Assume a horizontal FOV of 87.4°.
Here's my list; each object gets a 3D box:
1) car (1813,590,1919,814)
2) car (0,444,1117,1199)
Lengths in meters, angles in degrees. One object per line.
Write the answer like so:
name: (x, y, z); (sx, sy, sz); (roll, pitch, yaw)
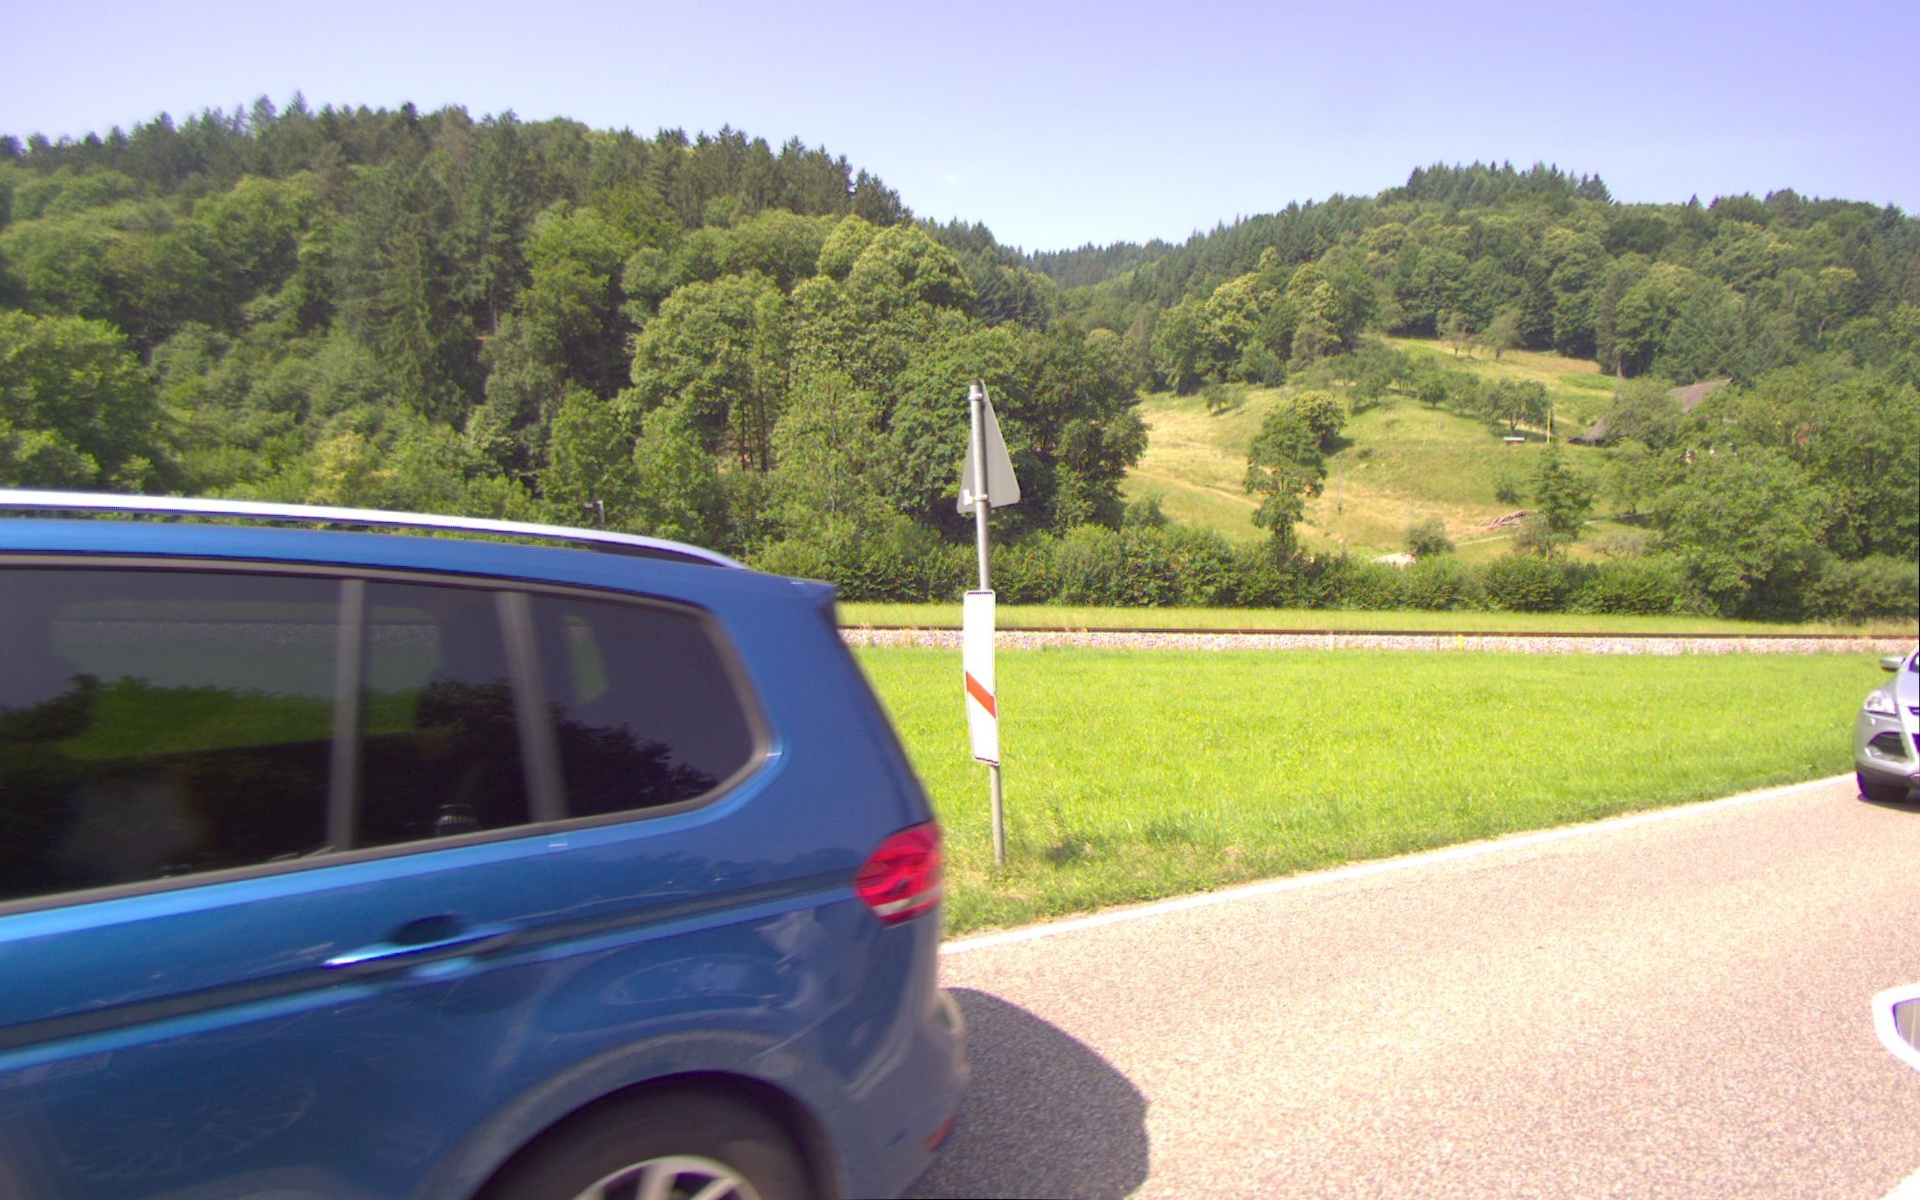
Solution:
car: (9.320, 0.808, 8.644); (4.114, 1.737, 1.904); (1, 0, -33)
car: (-2.046, 0.616, 1.758); (4.460, 1.645, 1.855); (1, 0, -32)
